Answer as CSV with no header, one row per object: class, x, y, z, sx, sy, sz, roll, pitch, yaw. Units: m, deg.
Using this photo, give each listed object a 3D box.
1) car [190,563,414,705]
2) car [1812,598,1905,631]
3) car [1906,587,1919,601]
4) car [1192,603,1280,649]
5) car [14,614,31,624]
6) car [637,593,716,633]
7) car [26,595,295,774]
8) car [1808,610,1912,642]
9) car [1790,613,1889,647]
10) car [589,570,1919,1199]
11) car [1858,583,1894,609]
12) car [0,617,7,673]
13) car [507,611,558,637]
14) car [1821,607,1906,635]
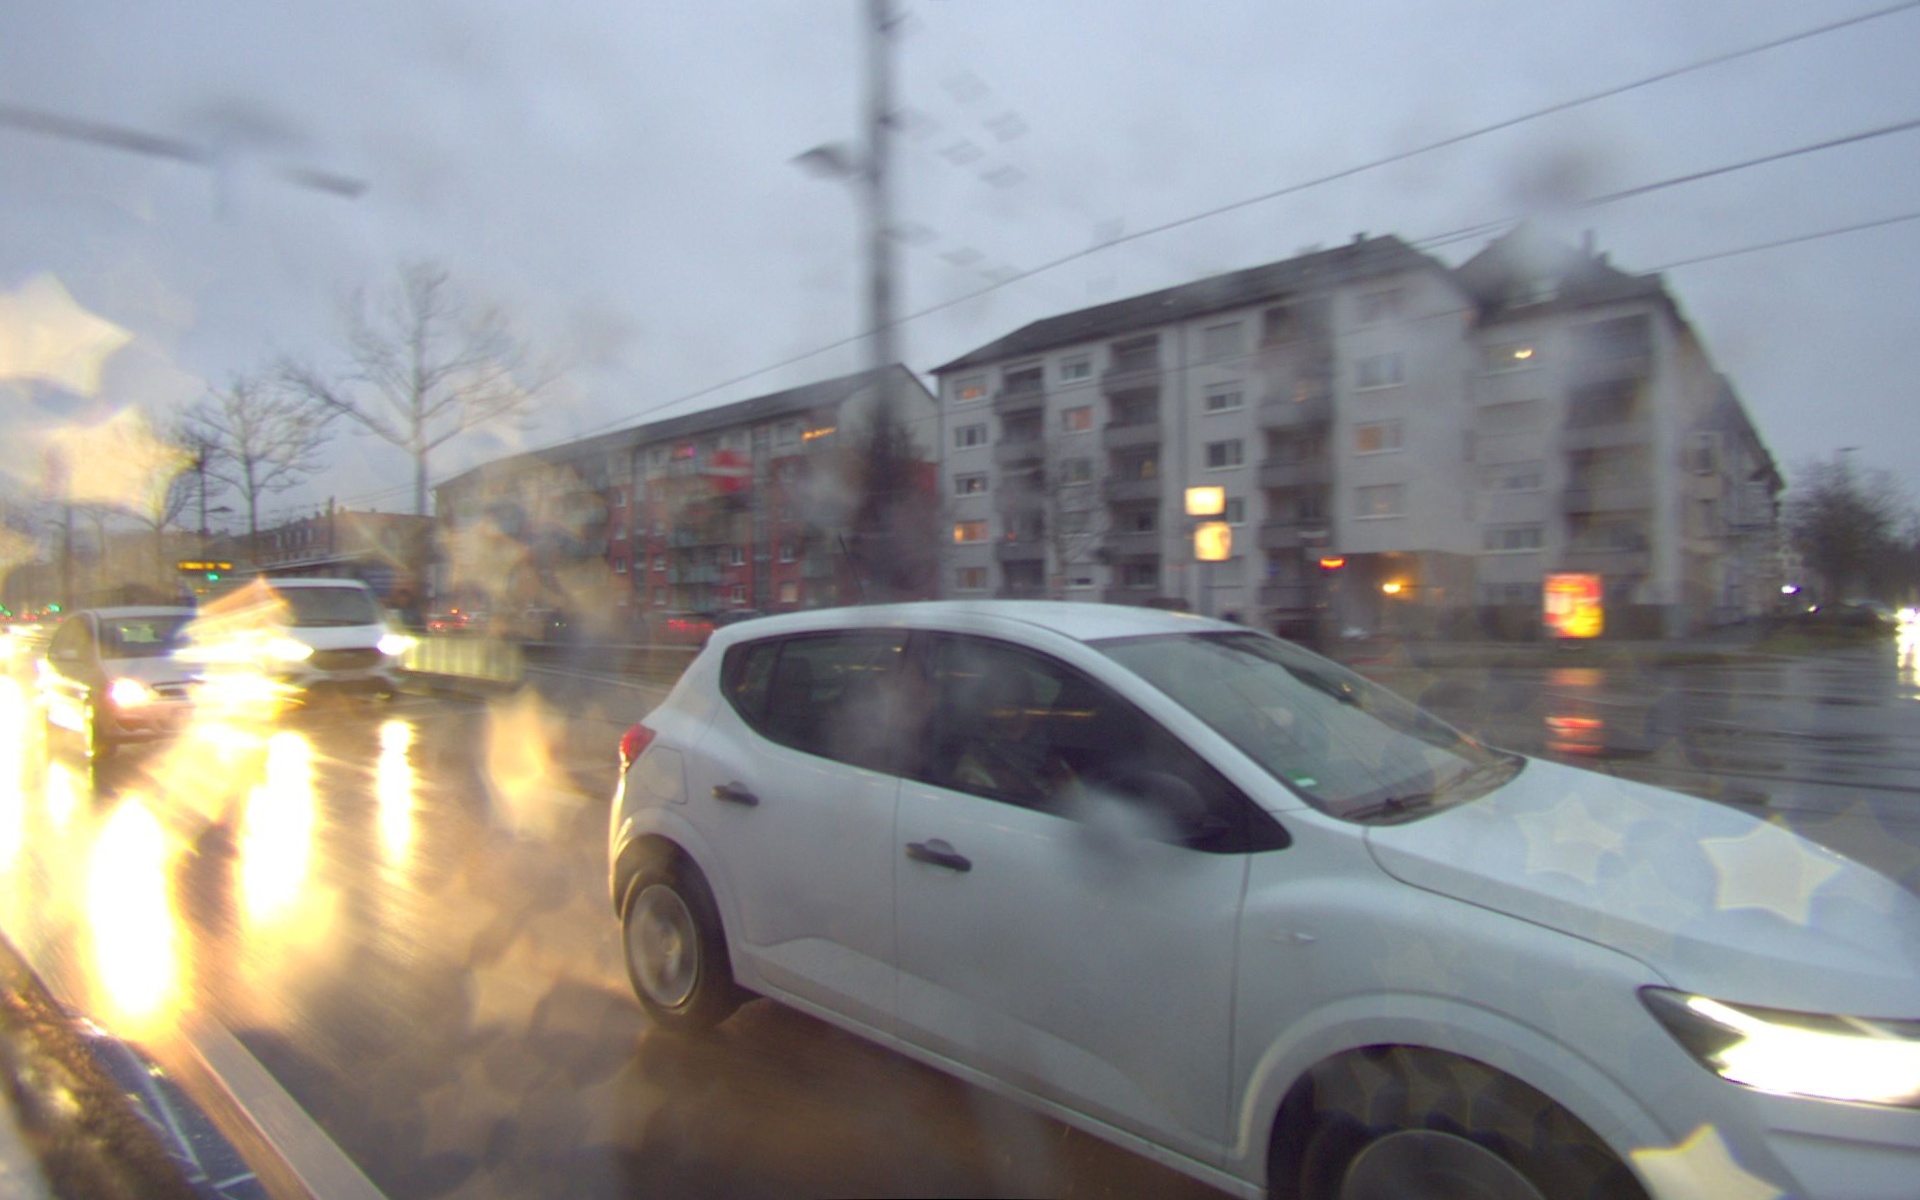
car,-11.089,0.506,16.897,4.882,2.049,1.931,-1,0,42
car,51.744,0.785,58.375,3.999,1.813,1.554,0,1,42
car,115.554,-0.711,121.991,1.757,1.612,3.861,0,1,37
car,9.536,0.861,34.799,1.695,1.376,3.764,0,1,37
car,-161.572,3.338,174.408,3.742,1.651,1.509,0,0,36
car,-12.896,0.551,45.944,3.731,1.701,1.692,0,1,42
car,-9.481,0.807,11.891,4.002,1.689,1.993,0,2,45
car,40.472,1.133,45.612,3.452,1.308,1.567,0,1,41
car,43.106,1.453,49.660,3.615,1.533,1.658,0,1,41
car,0.706,0.680,3.018,3.998,1.477,1.690,0,1,41
car,70.063,-0.311,77.417,2.000,1.844,3.809,0,2,43
car,-28.216,1.294,28.192,4.088,1.512,1.950,-1,0,40
car,-29.328,1.634,69.351,4.152,1.658,1.705,0,2,44
car,50.028,1.139,56.111,3.514,1.456,1.425,0,1,42
